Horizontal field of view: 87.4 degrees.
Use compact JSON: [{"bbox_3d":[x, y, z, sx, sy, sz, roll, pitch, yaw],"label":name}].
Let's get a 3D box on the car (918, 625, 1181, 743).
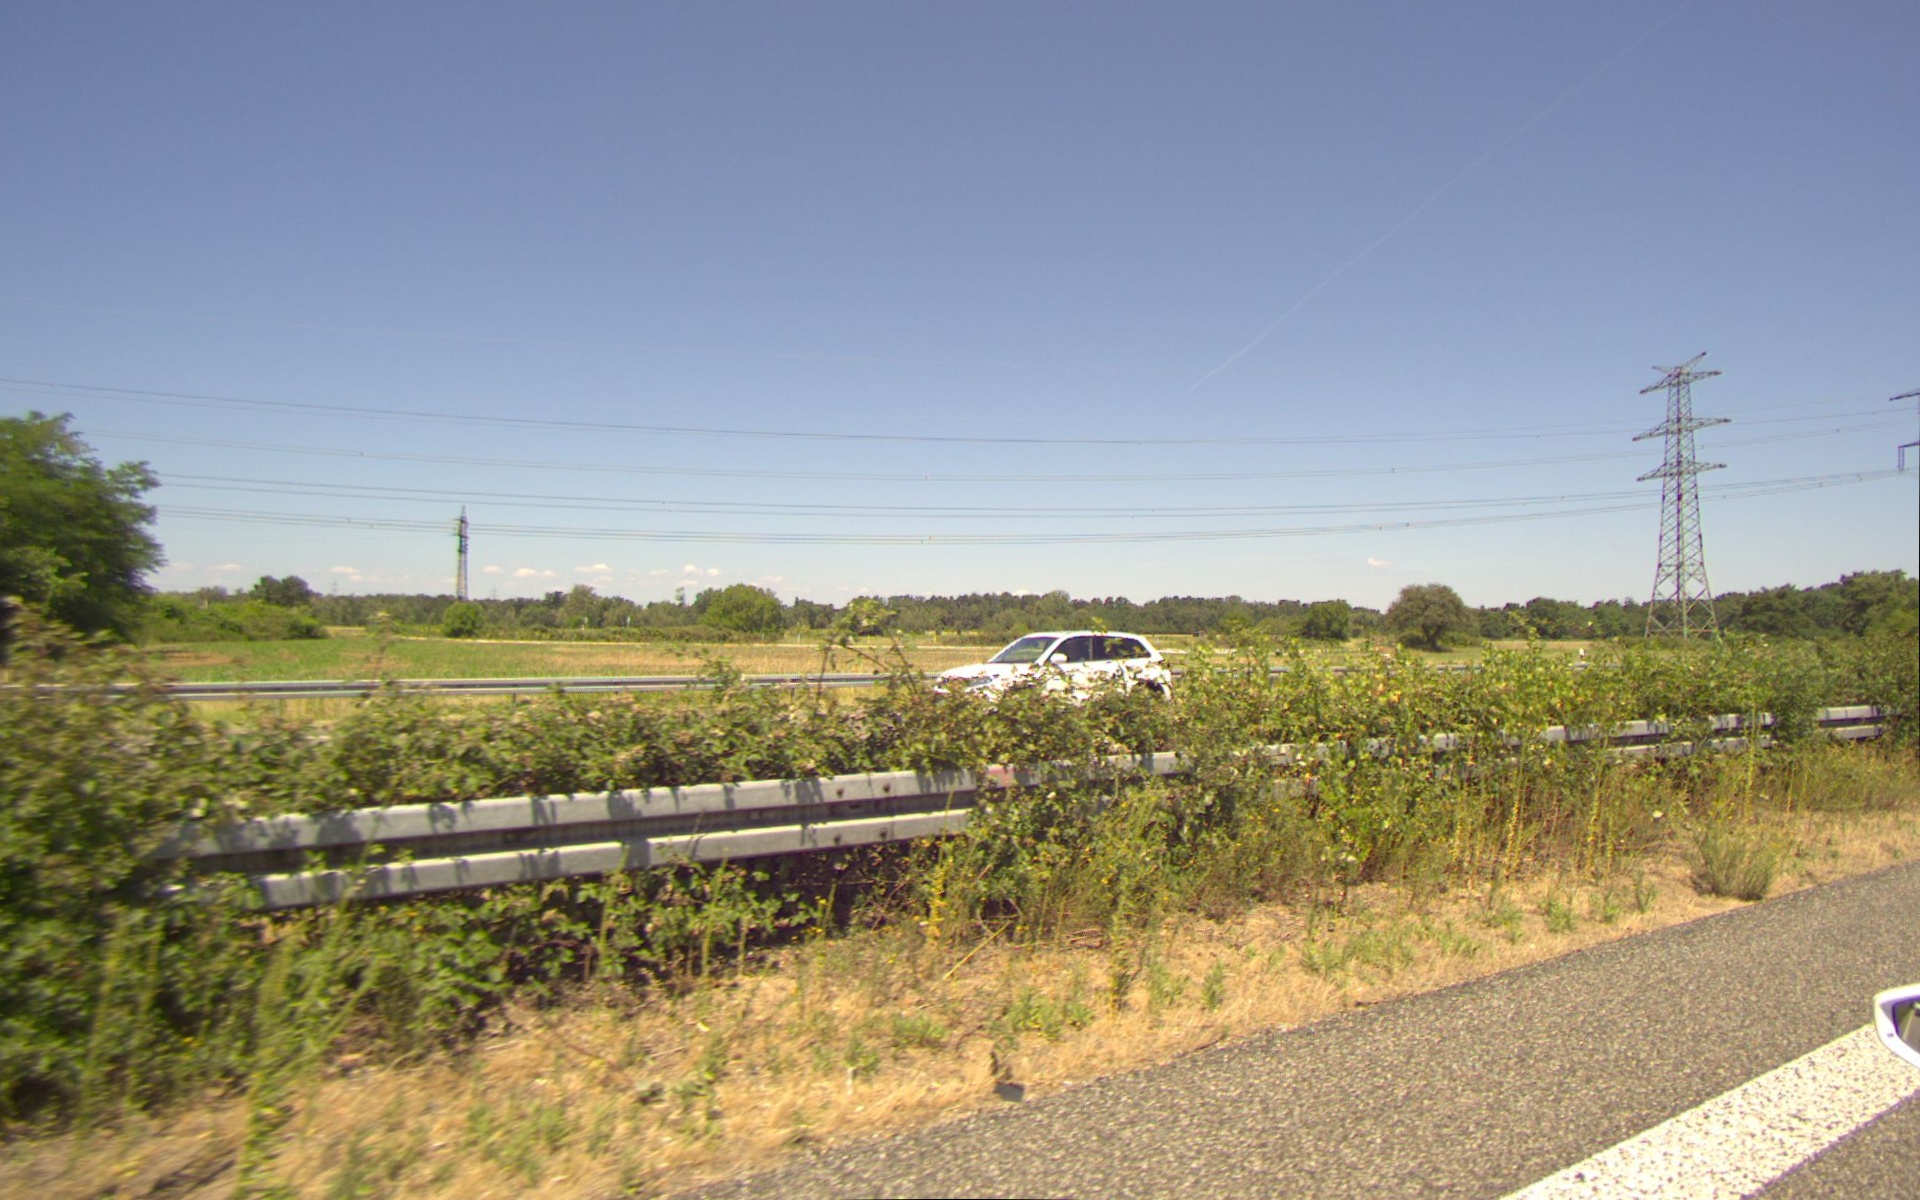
[{"bbox_3d":[1.497,1.277,16.473,3.966,1.674,1.832,1,0,-31],"label":"car"}]
